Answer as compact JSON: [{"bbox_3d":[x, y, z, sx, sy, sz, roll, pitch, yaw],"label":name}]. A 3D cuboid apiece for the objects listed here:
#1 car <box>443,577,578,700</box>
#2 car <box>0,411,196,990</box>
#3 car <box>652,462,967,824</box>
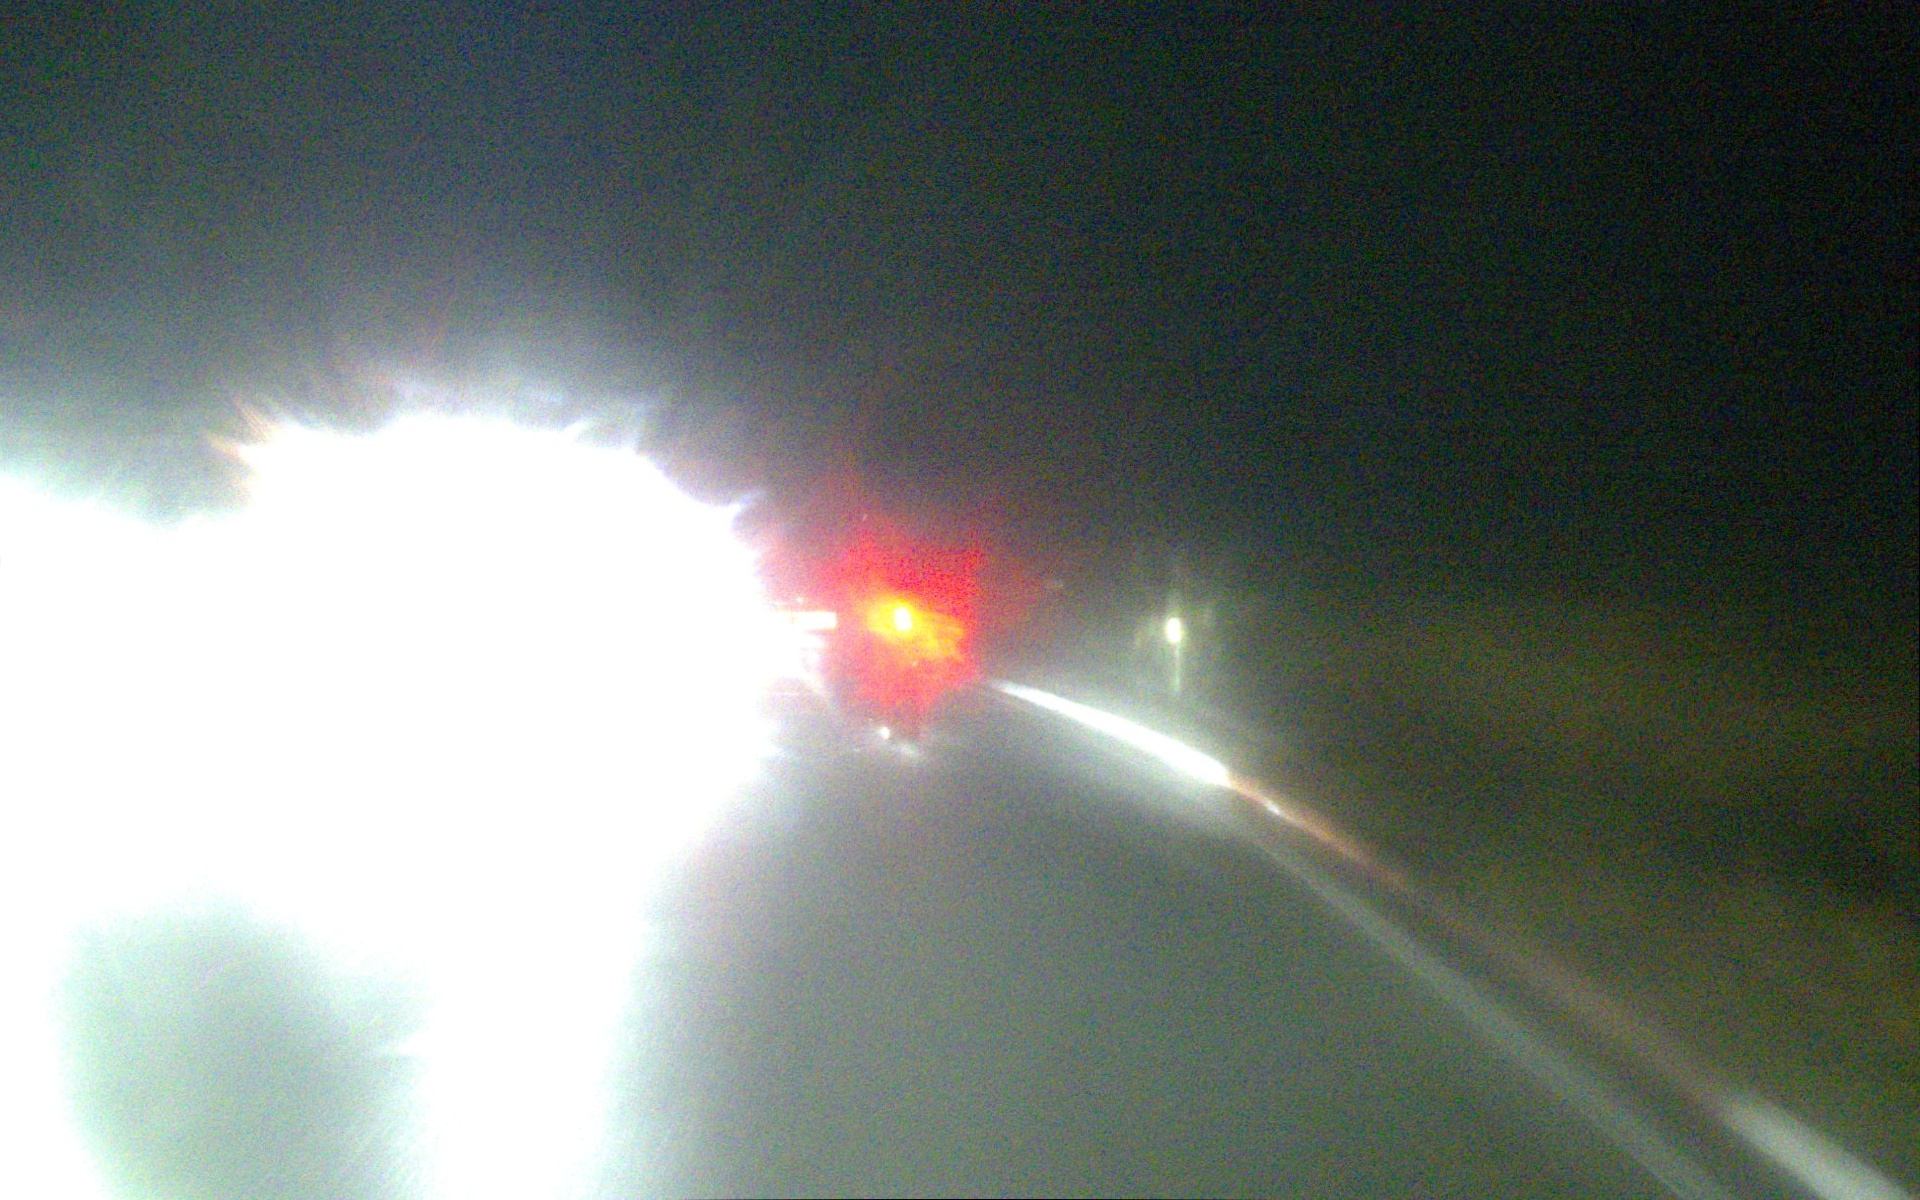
[{"bbox_3d":[-6.136,0.495,47.199,1.594,1.505,3.601,-2,1,-5],"label":"car"},{"bbox_3d":[-4.453,0.341,13.623,1.993,2.061,4.346,0,1,-2],"label":"car"},{"bbox_3d":[-1.206,0.294,27.322,2.181,2.549,4.508,3,0,-3],"label":"car"}]
